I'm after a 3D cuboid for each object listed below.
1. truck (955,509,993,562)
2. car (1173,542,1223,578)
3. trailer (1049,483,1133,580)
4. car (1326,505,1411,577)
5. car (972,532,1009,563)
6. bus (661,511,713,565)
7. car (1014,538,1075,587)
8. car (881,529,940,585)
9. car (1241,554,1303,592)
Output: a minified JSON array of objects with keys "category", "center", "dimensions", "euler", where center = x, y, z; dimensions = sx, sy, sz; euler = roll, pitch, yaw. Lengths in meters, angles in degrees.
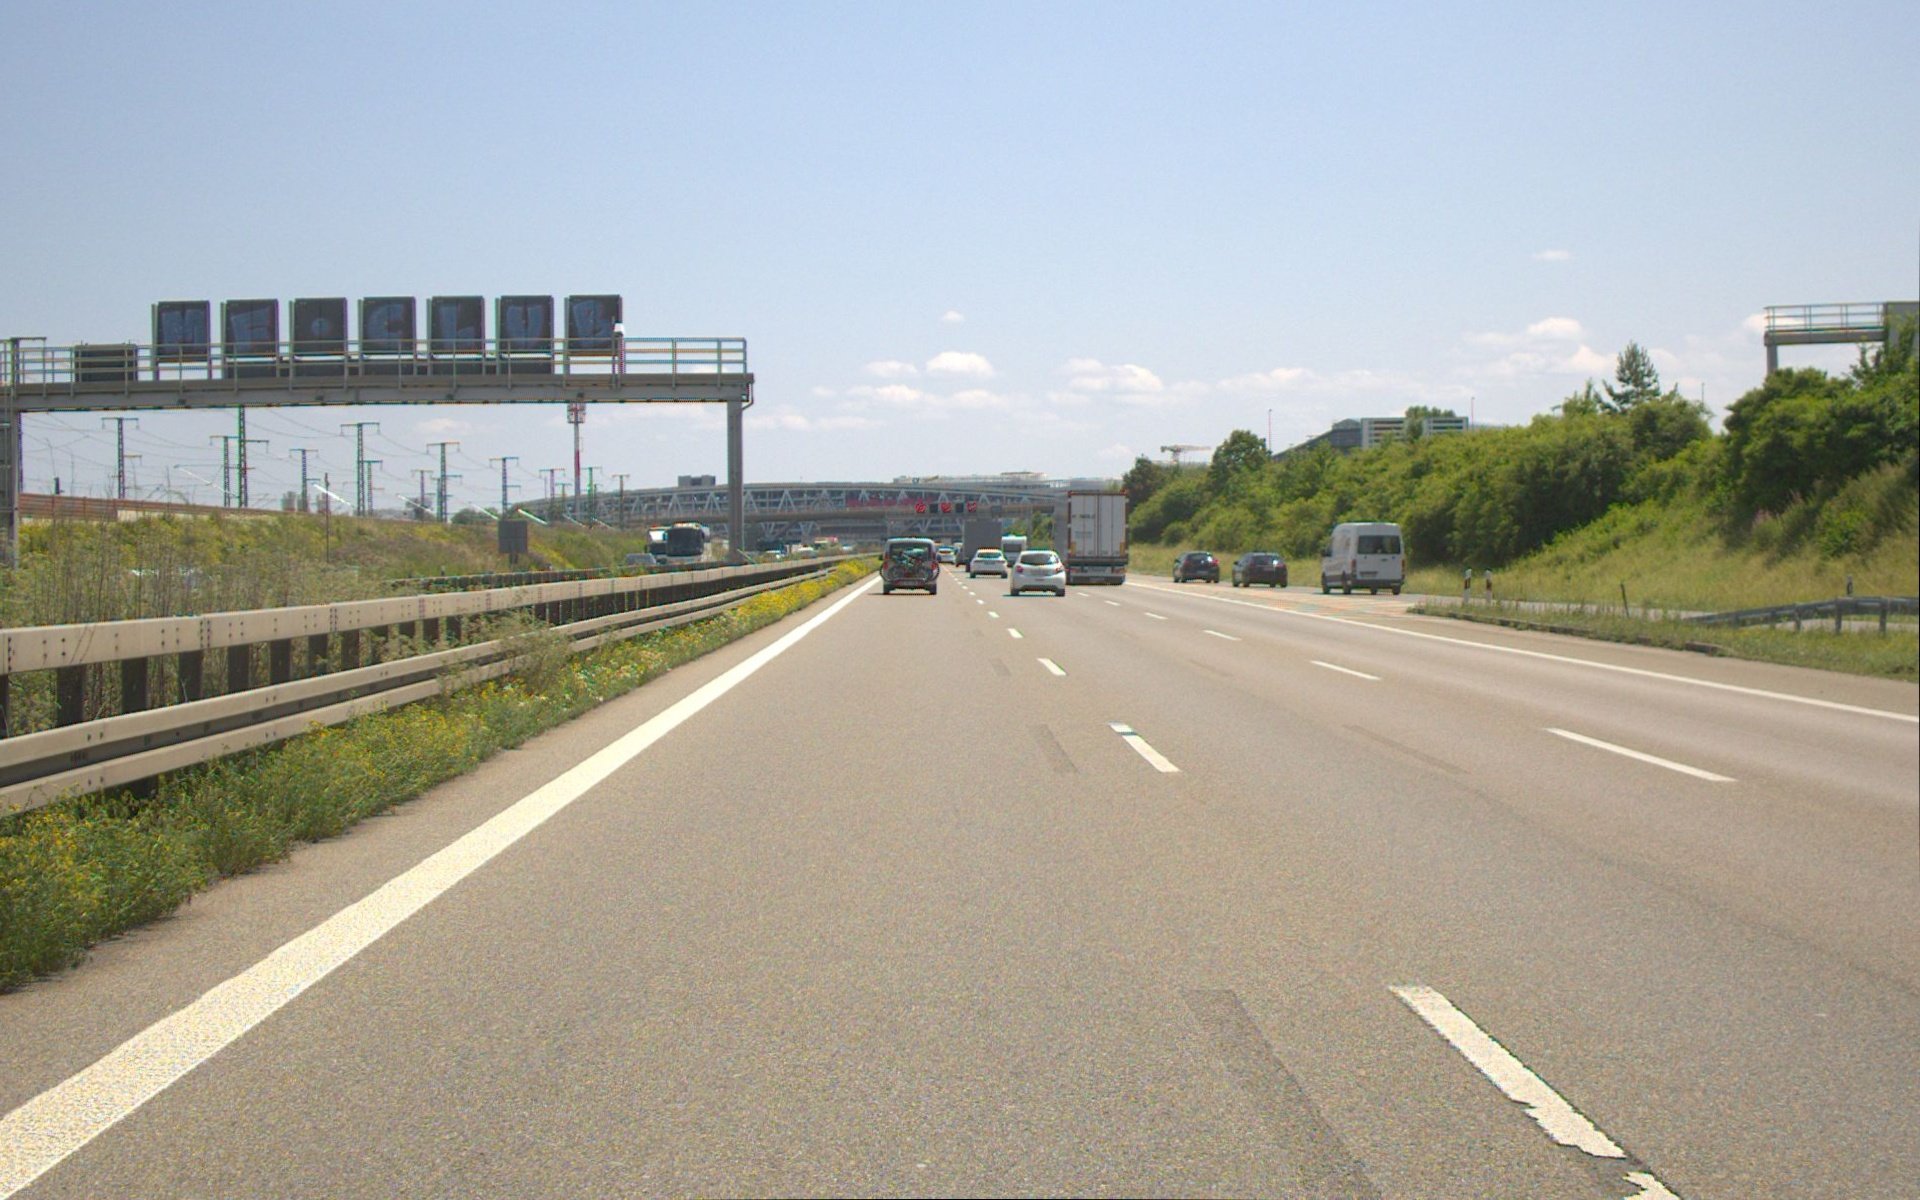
[{"category":"truck","center":[0.888,-4.133,220.620],"dimensions":[2.355,3.404,6.057],"euler":[0,1,0]},{"category":"car","center":[11.310,-1.873,163.368],"dimensions":[1.993,1.590,4.000],"euler":[2,0,-1]},{"category":"trailer","center":[5.647,-2.964,149.770],"dimensions":[3.177,4.045,9.440],"euler":[-1,1,0]},{"category":"car","center":[14.728,-2.128,124.178],"dimensions":[2.274,2.519,5.400],"euler":[0,1,-1]},{"category":"car","center":[1.576,-2.704,178.366],"dimensions":[1.881,1.521,4.000],"euler":[1,0,1]},{"category":"bus","center":[-19.129,-4.372,241.716],"dimensions":[2.856,3.633,10.942],"euler":[2,1,-1]},{"category":"car","center":[2.761,-1.193,111.256],"dimensions":[1.881,1.521,4.000],"euler":[1,0,2]},{"category":"car","center":[-1.598,-1.387,112.206],"dimensions":[1.881,1.769,4.000],"euler":[0,0,0]},{"category":"car","center":[12.953,-1.114,142.962],"dimensions":[1.993,1.503,4.000],"euler":[2,0,-3]}]
